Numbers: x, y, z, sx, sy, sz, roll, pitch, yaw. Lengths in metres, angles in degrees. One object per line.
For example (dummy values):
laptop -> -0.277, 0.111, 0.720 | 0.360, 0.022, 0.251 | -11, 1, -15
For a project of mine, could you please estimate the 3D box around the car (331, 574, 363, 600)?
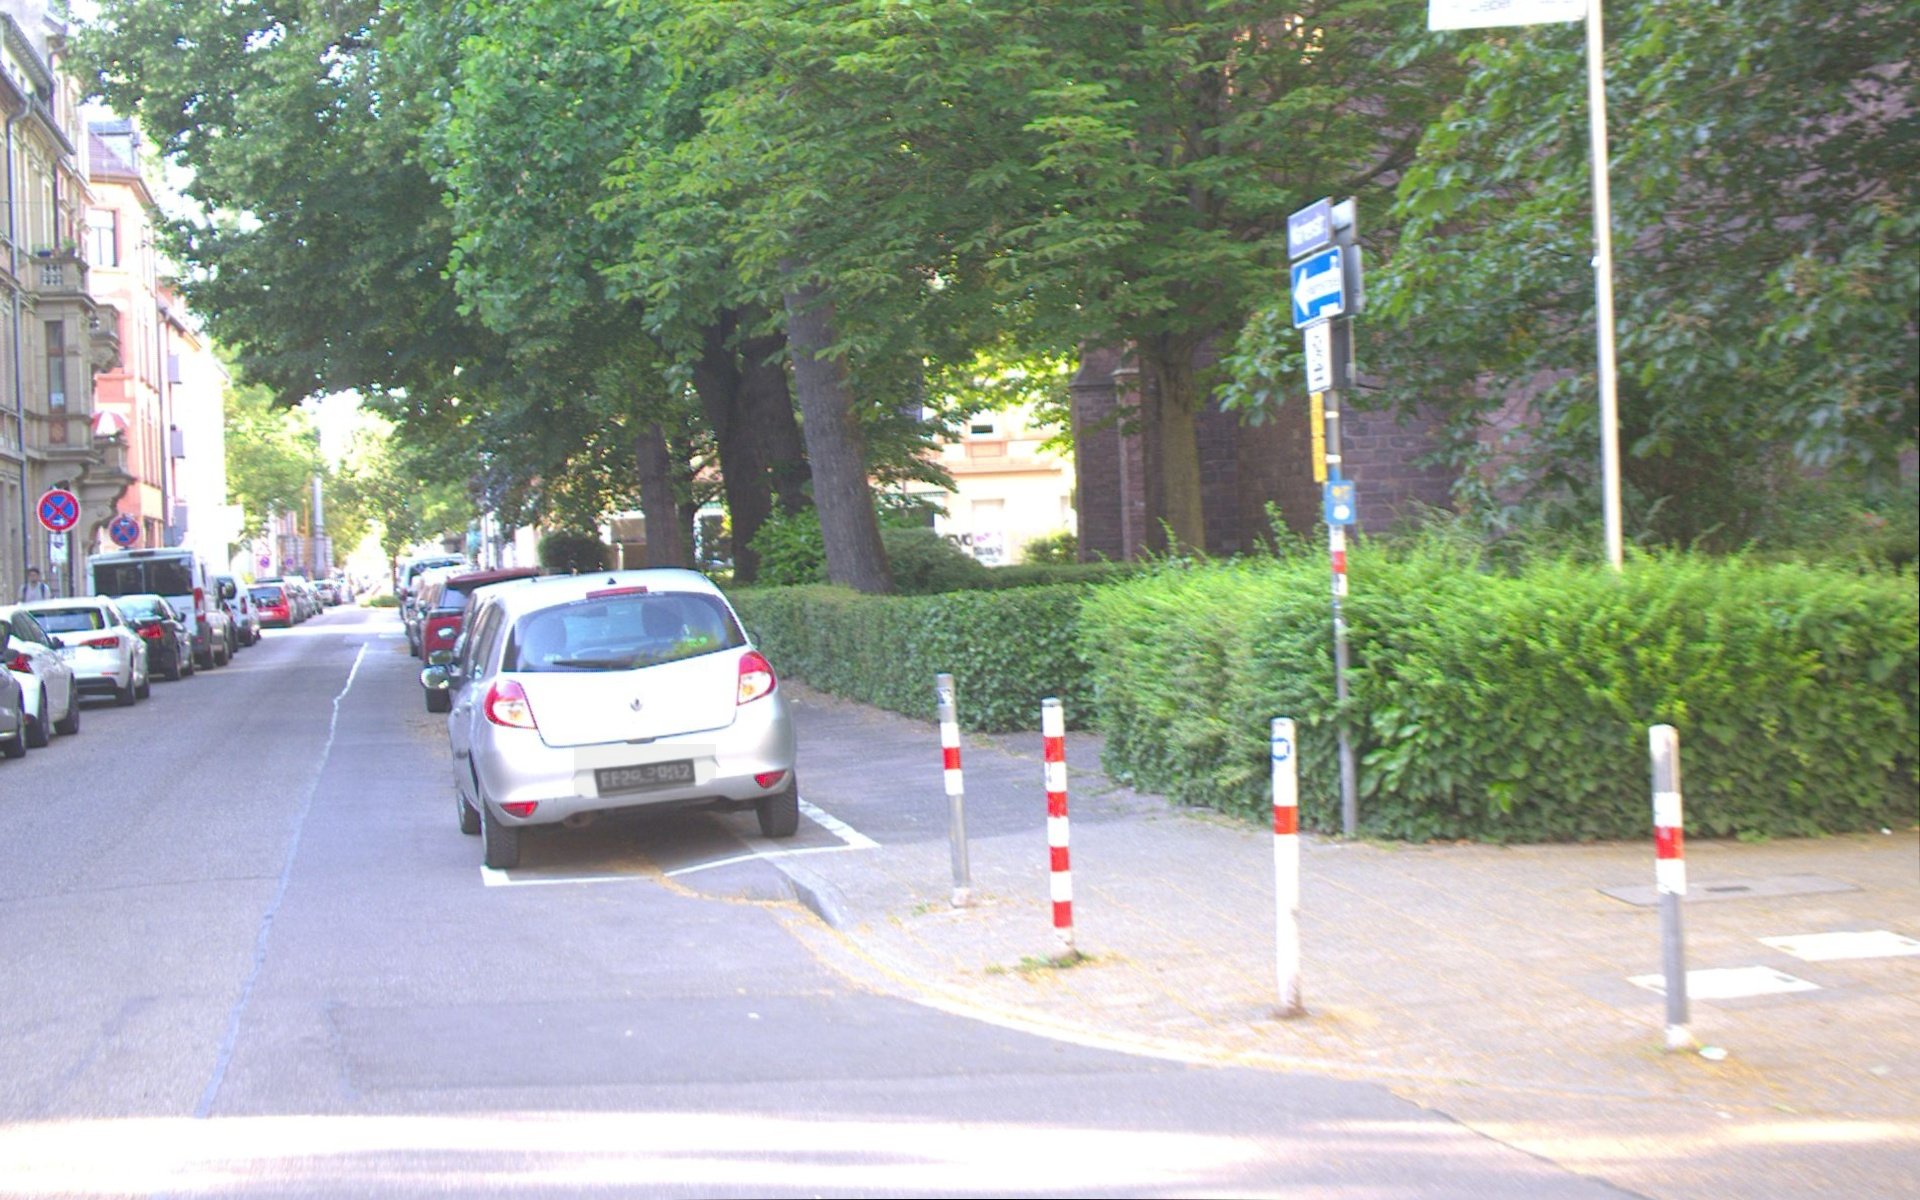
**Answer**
car -> -40.976, -0.884, 229.742 | 1.993, 1.641, 4.001 | -3, 1, -10

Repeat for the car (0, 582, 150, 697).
car -> -11.678, 0.491, 45.077 | 1.771, 1.349, 4.001 | -2, 1, -10

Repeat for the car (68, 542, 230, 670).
car -> -14.593, 0.091, 62.147 | 2.309, 2.107, 5.171 | -3, 1, -8

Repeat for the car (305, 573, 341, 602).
car -> -38.470, -0.739, 207.650 | 1.993, 1.641, 4.001 | -3, 1, -10

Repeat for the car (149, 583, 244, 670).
car -> -16.622, 0.549, 74.934 | 1.792, 1.568, 4.002 | -3, 4, -10

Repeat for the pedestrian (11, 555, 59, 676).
pedestrian -> -15.687, 0.259, 58.297 | 0.684, 2.007, 0.692 | -3, 0, -16

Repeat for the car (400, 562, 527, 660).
car -> -8.744, 0.177, 60.326 | 1.993, 1.568, 4.001 | -3, 1, -10

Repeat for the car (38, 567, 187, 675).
car -> -13.532, 0.318, 55.103 | 1.993, 1.568, 4.001 | -3, 1, -10

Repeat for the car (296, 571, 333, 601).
car -> -37.375, -0.813, 199.132 | 1.993, 1.641, 4.001 | -3, 1, -10

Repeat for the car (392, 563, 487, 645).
car -> -10.858, 0.081, 71.555 | 1.792, 1.568, 4.001 | -3, 1, -10

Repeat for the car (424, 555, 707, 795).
car -> -2.938, 0.491, 24.951 | 1.722, 1.517, 4.001 | -3, 1, -10

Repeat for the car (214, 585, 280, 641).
car -> -23.143, 0.413, 111.635 | 1.949, 1.703, 4.001 | -3, 1, -11

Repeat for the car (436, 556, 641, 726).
car -> -4.426, 0.379, 35.686 | 1.841, 1.590, 4.001 | -3, 1, -10

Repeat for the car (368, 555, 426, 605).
car -> -20.852, -0.756, 127.254 | 1.993, 1.722, 4.001 | -3, 1, -10

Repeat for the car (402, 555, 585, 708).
car -> -5.529, 0.344, 40.404 | 1.894, 1.619, 4.001 | -3, 1, -10

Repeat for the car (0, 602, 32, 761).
car -> -9.496, 0.766, 31.042 | 1.725, 1.388, 4.001 | -3, 1, -10

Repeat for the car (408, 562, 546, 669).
car -> -7.889, 0.238, 55.896 | 1.993, 1.568, 4.001 | -3, 1, -10

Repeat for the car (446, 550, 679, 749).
car -> -3.596, 0.405, 30.560 | 1.740, 1.568, 4.001 | -3, 1, -10

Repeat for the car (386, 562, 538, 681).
car -> -7.304, 0.296, 50.124 | 1.993, 1.568, 4.001 | -3, 1, -10

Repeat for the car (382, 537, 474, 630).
car -> -13.935, -0.426, 89.854 | 2.160, 2.248, 4.527 | -3, 1, -10

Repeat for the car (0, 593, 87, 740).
car -> -10.229, 0.695, 35.497 | 1.881, 1.406, 4.001 | -4, 1, -9

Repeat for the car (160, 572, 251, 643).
car -> -18.081, 0.167, 82.500 | 1.902, 1.568, 4.001 | -3, 1, -10

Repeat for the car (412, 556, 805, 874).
car -> -2.094, 0.555, 19.482 | 1.723, 1.517, 4.001 | -3, 1, -12
